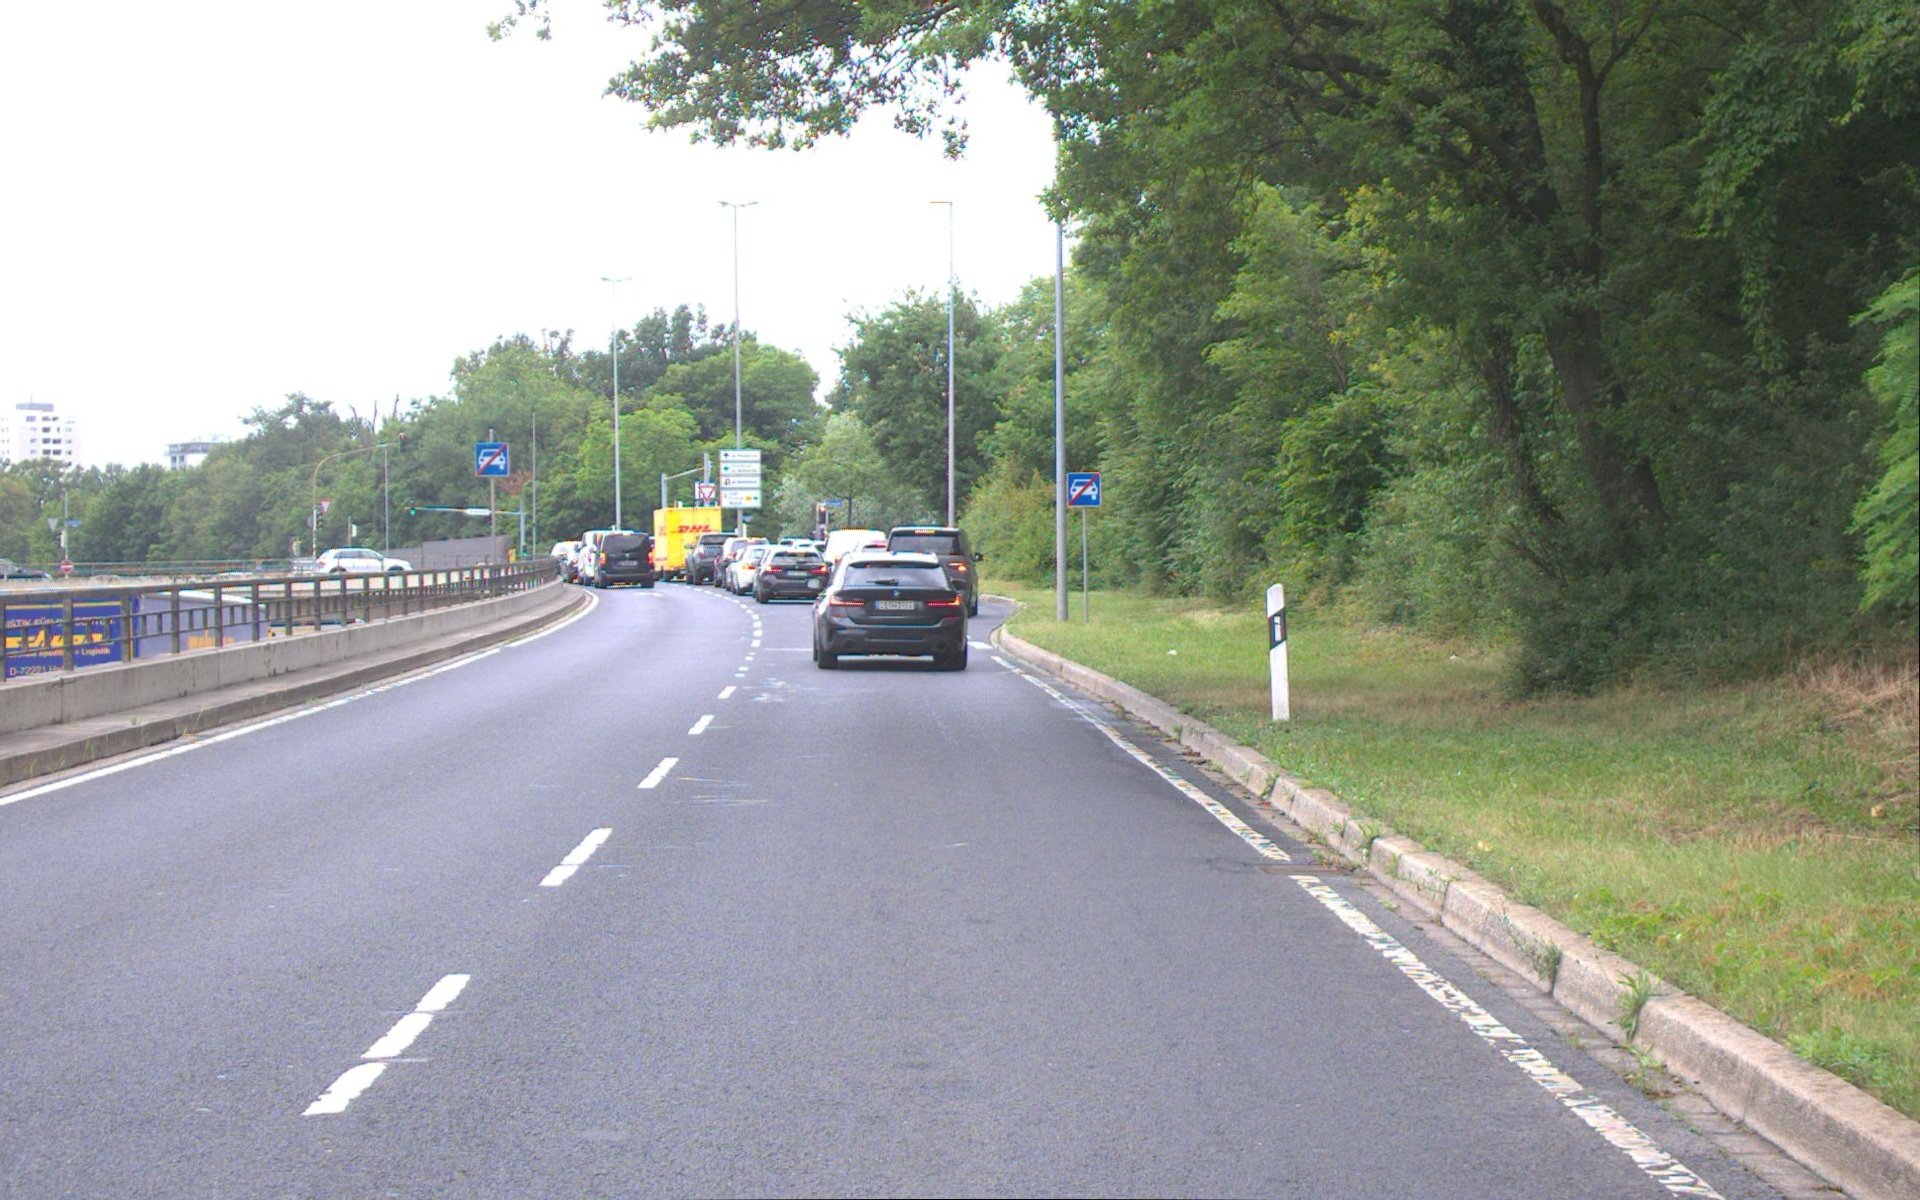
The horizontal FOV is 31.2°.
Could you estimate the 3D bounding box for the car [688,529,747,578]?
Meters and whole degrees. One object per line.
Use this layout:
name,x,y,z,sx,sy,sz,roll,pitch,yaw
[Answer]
car,-8.735,-1.669,123.554,1.884,1.694,4.431,1,0,-7

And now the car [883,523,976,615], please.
car,-0.655,-0.653,72.988,1.899,1.878,4.415,1,0,-1

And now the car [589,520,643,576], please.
car,-12.690,-1.895,126.520,1.884,1.981,4.431,1,0,-7

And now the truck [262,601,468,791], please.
truck,-14.195,2.109,83.419,2.850,4.023,15.579,-1,0,-2

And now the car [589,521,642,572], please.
car,-11.877,-1.841,118.394,1.623,1.696,4.297,1,0,-8

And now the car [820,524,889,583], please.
car,-3.489,-1.520,113.210,1.884,1.873,4.431,1,0,-7

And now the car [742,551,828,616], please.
car,-4.469,-0.432,87.256,1.884,1.587,4.431,1,0,-7

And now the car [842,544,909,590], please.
car,-2.586,-0.993,104.670,1.884,1.351,4.001,1,0,-4

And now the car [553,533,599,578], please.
car,-14.961,-1.727,133.796,1.623,1.696,4.297,1,0,-8

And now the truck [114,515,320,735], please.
truck,-14.313,0.450,66.663,2.850,4.023,6.097,-1,0,-2

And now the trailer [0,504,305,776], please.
trailer,-13.949,0.560,59.264,2.851,4.023,16.007,-1,0,-2

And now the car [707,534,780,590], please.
car,-6.404,-1.117,101.386,1.884,1.587,4.431,1,0,-7

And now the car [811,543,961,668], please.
car,-0.972,0.028,43.113,1.748,1.421,4.462,0,2,-3
